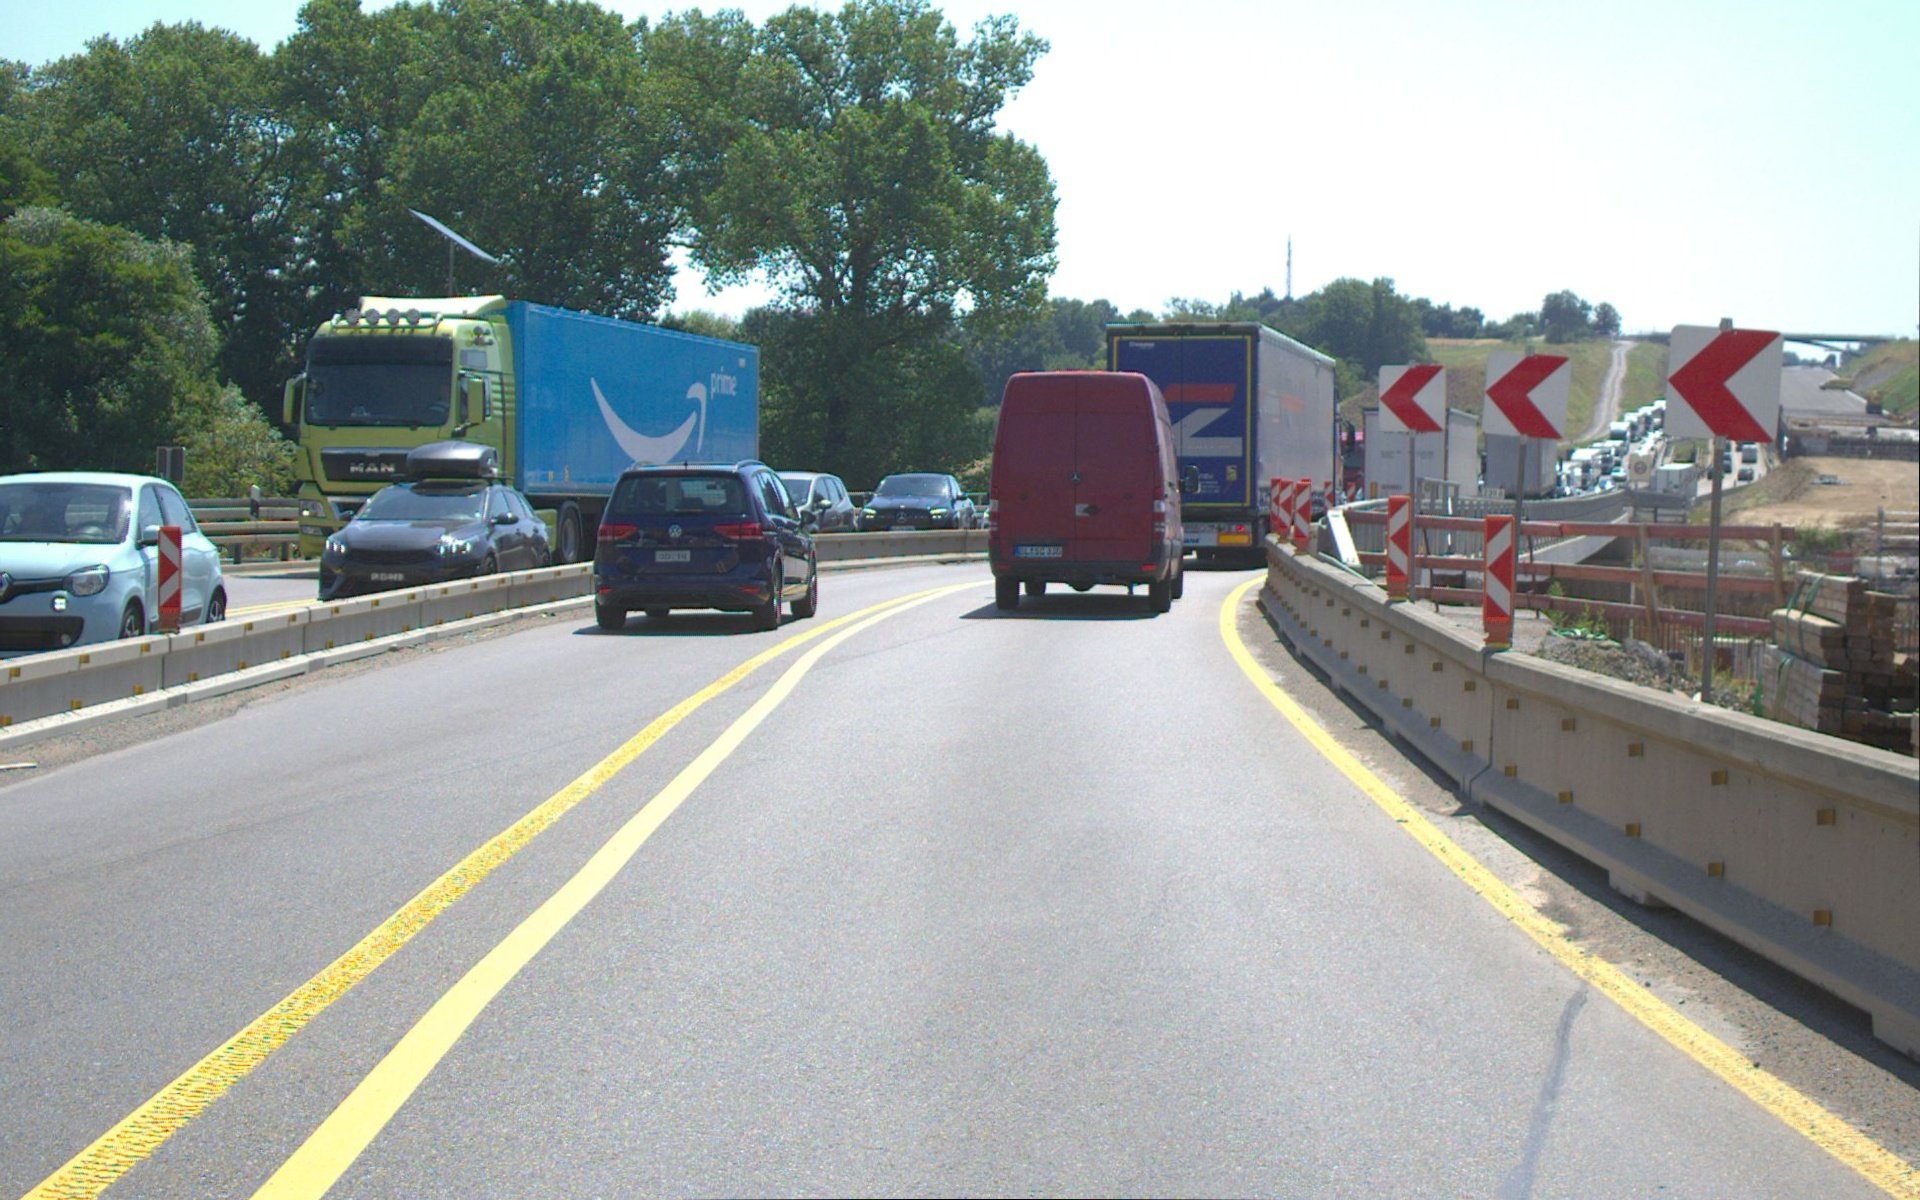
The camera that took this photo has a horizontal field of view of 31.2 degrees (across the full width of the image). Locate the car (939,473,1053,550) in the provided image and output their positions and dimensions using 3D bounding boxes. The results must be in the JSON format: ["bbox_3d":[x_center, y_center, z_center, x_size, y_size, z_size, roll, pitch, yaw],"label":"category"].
[{"bbox_3d":[0.887,-2.127,81.464,1.821,1.641,4.569,2,4,11],"label":"car"}]

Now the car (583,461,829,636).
[{"bbox_3d":[-2.505,-0.574,34.895,1.734,1.629,4.389,1,2,6],"label":"car"}]

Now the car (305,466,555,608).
[{"bbox_3d":[-5.835,-0.750,38.365,1.820,1.430,4.583,1,2,3],"label":"car"}]

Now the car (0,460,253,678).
[{"bbox_3d":[-6.719,-0.302,26.442,1.636,1.480,4.001,1,3,1],"label":"car"}]

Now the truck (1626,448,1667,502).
[{"bbox_3d":[40.950,-7.459,205.226,2.292,3.185,6.480,1,2,11],"label":"truck"}]

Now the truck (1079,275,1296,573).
[{"bbox_3d":[4.099,-3.035,60.532,2.946,4.928,6.739,1,2,11],"label":"truck"}]

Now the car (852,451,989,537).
[{"bbox_3d":[-0.755,-2.140,70.128,1.882,1.641,4.713,2,2,10],"label":"car"}]

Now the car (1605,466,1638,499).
[{"bbox_3d":[35.652,-6.310,185.198,1.618,1.694,3.888,2,2,12],"label":"car"}]

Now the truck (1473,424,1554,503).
[{"bbox_3d":[25.506,-6.223,158.135,3.185,2.967,8.894,1,-2,12],"label":"truck"}]

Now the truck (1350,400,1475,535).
[{"bbox_3d":[13.975,-4.045,105.799,3.184,3.976,6.738,1,2,12],"label":"truck"}]

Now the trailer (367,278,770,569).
[{"bbox_3d":[-6.242,-2.754,57.998,2.649,4.278,13.302,2,1,11],"label":"trailer"}]

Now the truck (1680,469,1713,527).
[{"bbox_3d":[53.481,-7.393,249.746,2.292,3.726,6.478,1,-2,12],"label":"truck"}]

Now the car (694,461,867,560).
[{"bbox_3d":[-3.053,-1.519,59.456,1.821,1.579,4.298,2,1,13],"label":"car"}]

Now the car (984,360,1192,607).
[{"bbox_3d":[1.488,-1.277,39.697,2.150,2.602,5.438,2,0,2],"label":"car"}]

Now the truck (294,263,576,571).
[{"bbox_3d":[-7.668,-2.621,50.725,2.626,4.255,4.730,2,1,10],"label":"truck"}]
